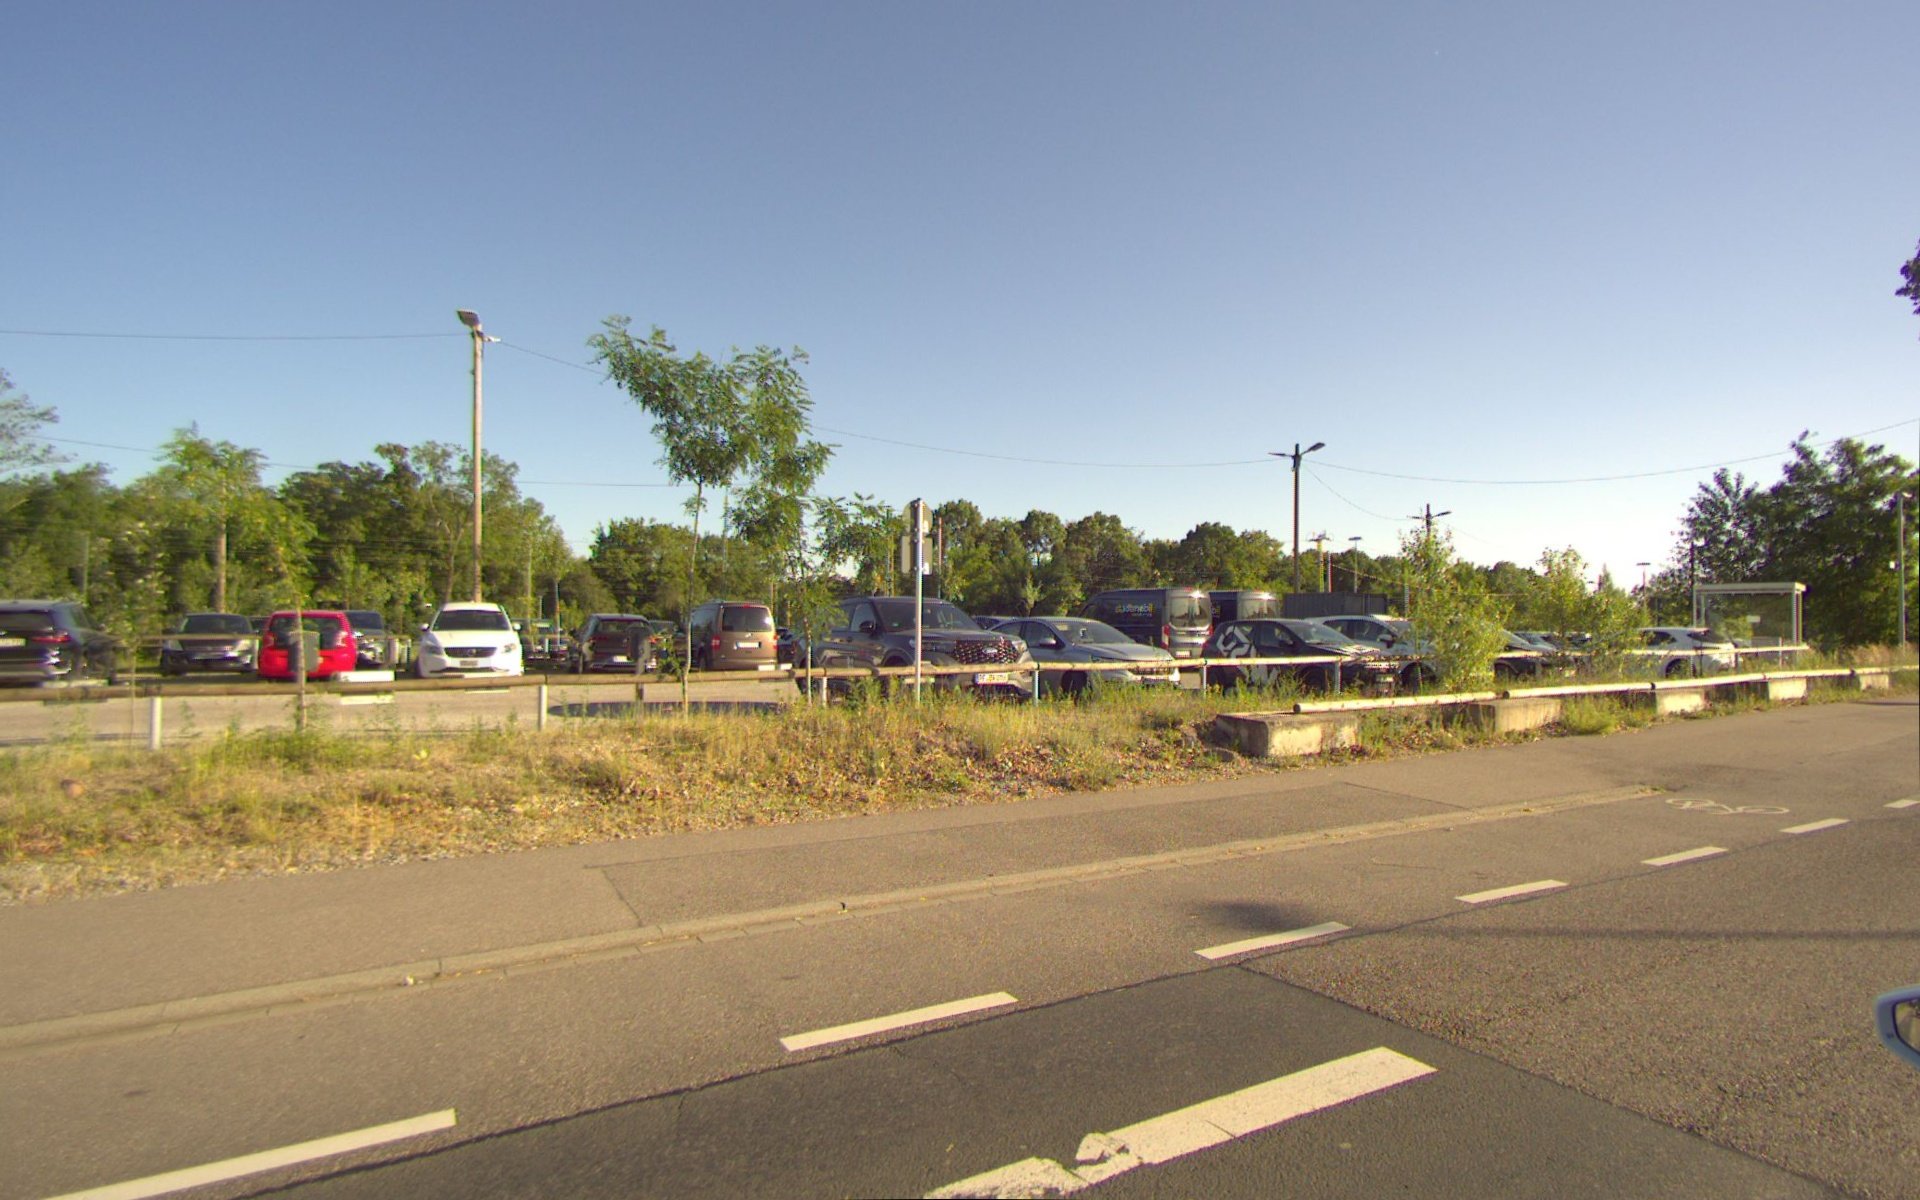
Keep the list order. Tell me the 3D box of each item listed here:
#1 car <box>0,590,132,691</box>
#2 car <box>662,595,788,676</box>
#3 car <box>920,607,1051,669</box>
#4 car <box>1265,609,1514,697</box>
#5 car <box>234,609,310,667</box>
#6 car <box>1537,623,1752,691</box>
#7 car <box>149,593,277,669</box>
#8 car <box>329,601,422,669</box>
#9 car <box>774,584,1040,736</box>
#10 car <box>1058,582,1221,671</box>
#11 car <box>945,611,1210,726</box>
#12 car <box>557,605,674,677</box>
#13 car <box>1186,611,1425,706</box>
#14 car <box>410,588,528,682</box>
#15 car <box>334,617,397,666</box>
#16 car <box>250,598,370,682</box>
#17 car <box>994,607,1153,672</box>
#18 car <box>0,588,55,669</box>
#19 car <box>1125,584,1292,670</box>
[{"bbox_3d":[-16.396,0.659,17.927,1.856,1.625,3.864,1,-1,-30],"label":"car"},{"bbox_3d":[-5.909,0.816,24.876,1.856,1.815,4.301,1,-1,-30],"label":"car"},{"bbox_3d":[0.649,1.045,28.943,1.856,1.639,4.187,1,-1,-30],"label":"car"},{"bbox_3d":[8.667,0.992,20.700,1.856,1.578,4.520,1,-1,-30],"label":"car"},{"bbox_3d":[-22.636,1.193,33.171,1.733,1.794,3.705,1,-1,-29],"label":"car"},{"bbox_3d":[18.069,1.435,26.736,1.856,1.578,4.404,1,-1,-30],"label":"car"},{"bbox_3d":[-17.478,0.693,23.684,1.855,1.625,3.866,1,-1,-28],"label":"car"},{"bbox_3d":[-14.610,0.828,25.159,1.856,1.540,3.864,1,-1,-30],"label":"car"},{"bbox_3d":[-0.998,0.764,14.955,1.977,1.859,4.822,1,-1,-30],"label":"car"},{"bbox_3d":[5.385,0.766,30.767,2.293,2.492,4.902,1,-1,-30],"label":"car"},{"bbox_3d":[1.736,0.990,16.444,1.977,1.578,4.572,1,-1,-30],"label":"car"},{"bbox_3d":[-8.135,0.892,23.523,1.856,1.540,3.864,1,-1,-30],"label":"car"},{"bbox_3d":[6.406,1.015,19.061,1.856,1.578,4.068,1,-1,-30],"label":"car"},{"bbox_3d":[-10.469,0.688,21.497,2.031,1.764,4.565,1,-1,-26],"label":"car"},{"bbox_3d":[-20.043,1.359,33.964,1.733,1.514,3.705,1,-1,-29],"label":"car"},{"bbox_3d":[-13.232,0.764,20.646,1.856,1.540,3.864,1,-1,-30],"label":"car"},{"bbox_3d":[3.211,1.101,29.515,2.142,1.727,4.902,1,-1,-30],"label":"car"},{"bbox_3d":[-21.035,0.566,21.423,1.786,1.625,3.864,1,-1,-30],"label":"car"},{"bbox_3d":[7.761,0.816,31.923,2.293,2.492,5.071,1,-1,-30],"label":"car"}]
